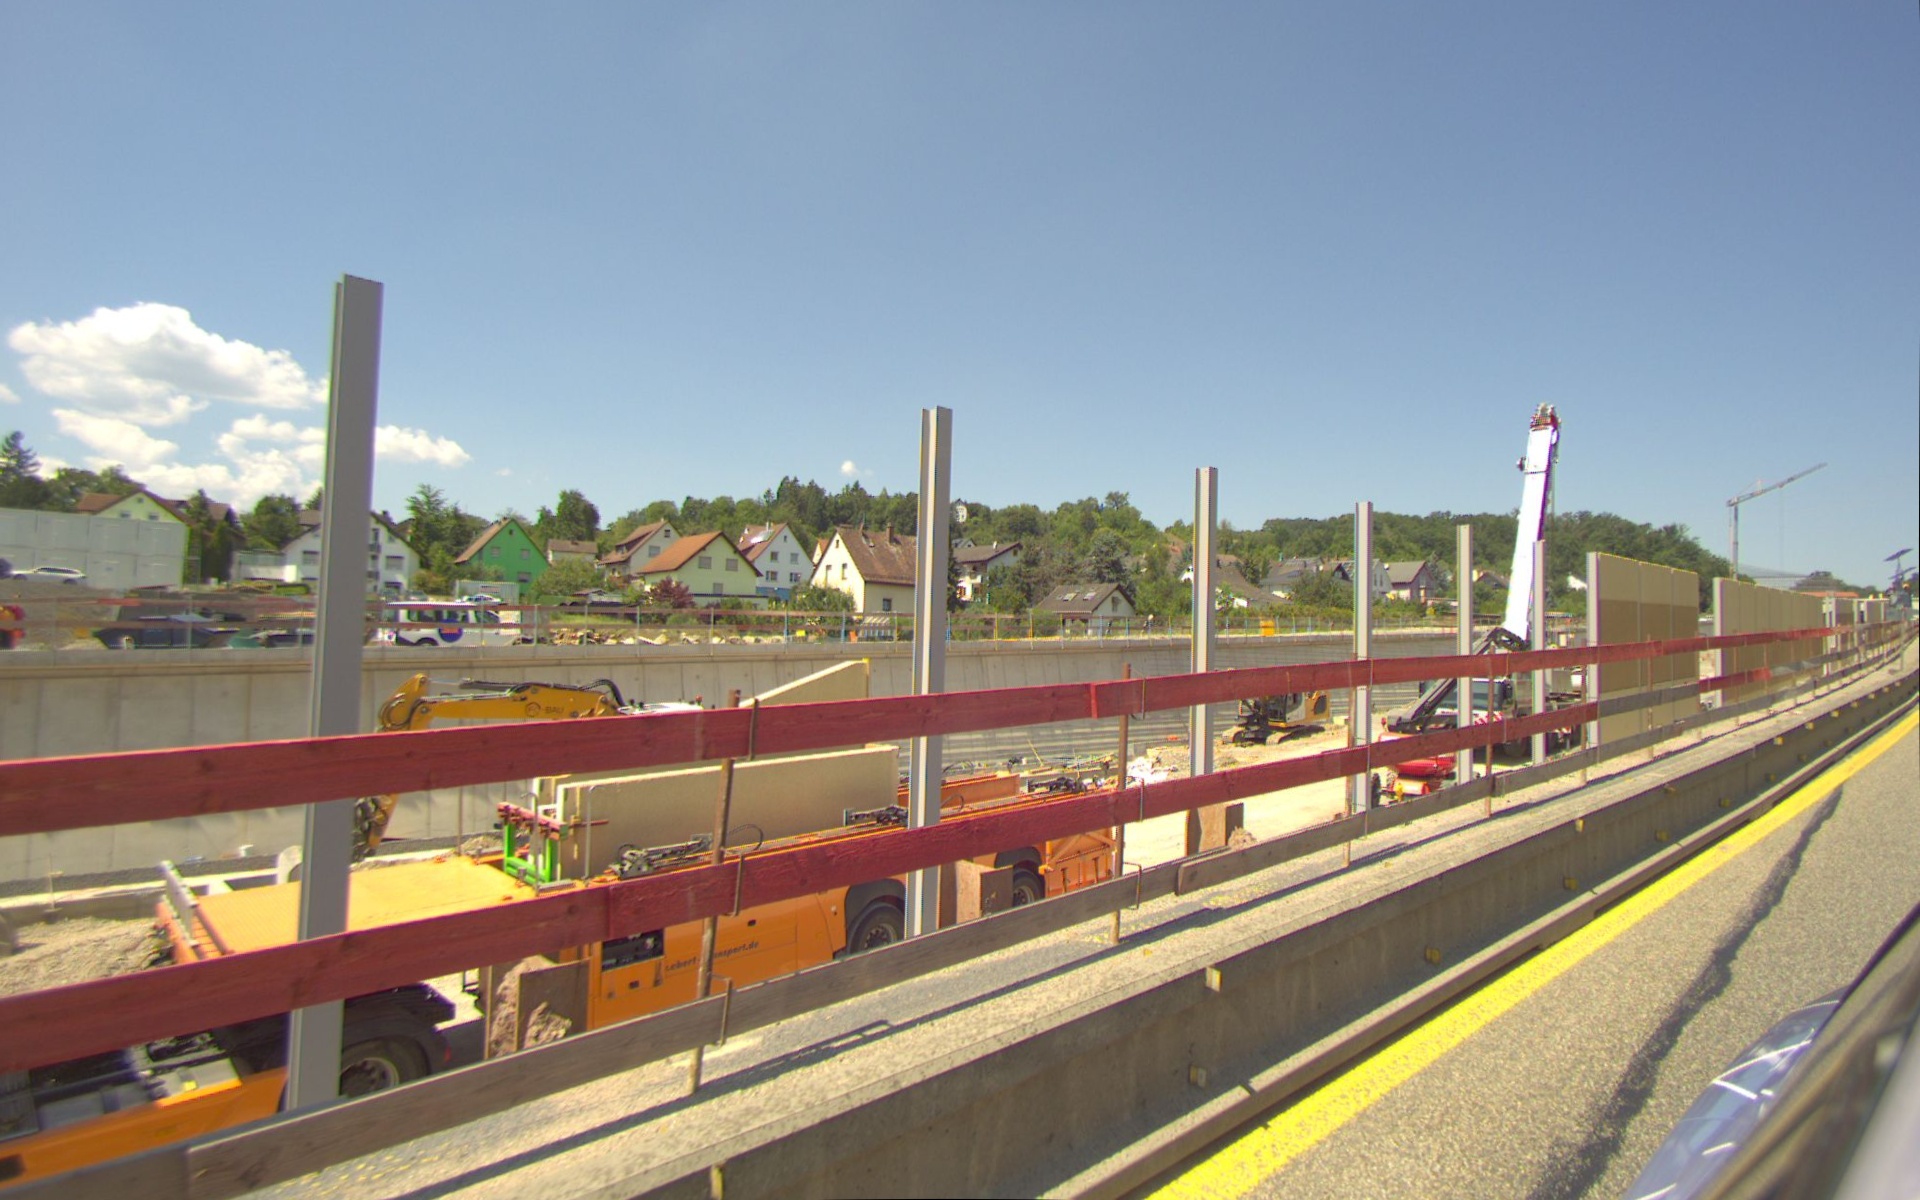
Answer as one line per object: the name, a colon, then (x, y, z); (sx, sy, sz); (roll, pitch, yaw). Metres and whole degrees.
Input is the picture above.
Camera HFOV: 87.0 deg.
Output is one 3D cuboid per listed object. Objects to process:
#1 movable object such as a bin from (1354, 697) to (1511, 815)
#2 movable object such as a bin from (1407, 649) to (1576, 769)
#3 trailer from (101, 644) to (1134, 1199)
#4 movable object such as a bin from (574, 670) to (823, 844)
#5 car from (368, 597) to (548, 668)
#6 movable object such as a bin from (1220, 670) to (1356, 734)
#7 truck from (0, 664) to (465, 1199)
movable object such as a bin: (12.638, 4.007, 26.943); (4.740, 2.463, 2.170); (0, -2, -43)
movable object such as a bin: (19.505, 3.689, 36.791); (2.965, 3.533, 9.007); (-3, -2, 44)
trailer: (-2.721, 2.730, 13.232); (12.830, 3.936, 2.761); (1, -1, -44)
movable object such as a bin: (-5.598, 3.204, 22.017); (4.739, 3.063, 2.282); (0, -2, -43)
car: (-15.637, 0.960, 31.729); (1.806, 2.039, 4.748); (0, -1, 44)
movable object such as a bin: (16.328, 4.921, 50.068); (7.765, 2.477, 3.164); (0, -2, -44)
truck: (-7.665, 2.678, 8.442); (5.783, 3.936, 2.761); (1, -1, -44)
